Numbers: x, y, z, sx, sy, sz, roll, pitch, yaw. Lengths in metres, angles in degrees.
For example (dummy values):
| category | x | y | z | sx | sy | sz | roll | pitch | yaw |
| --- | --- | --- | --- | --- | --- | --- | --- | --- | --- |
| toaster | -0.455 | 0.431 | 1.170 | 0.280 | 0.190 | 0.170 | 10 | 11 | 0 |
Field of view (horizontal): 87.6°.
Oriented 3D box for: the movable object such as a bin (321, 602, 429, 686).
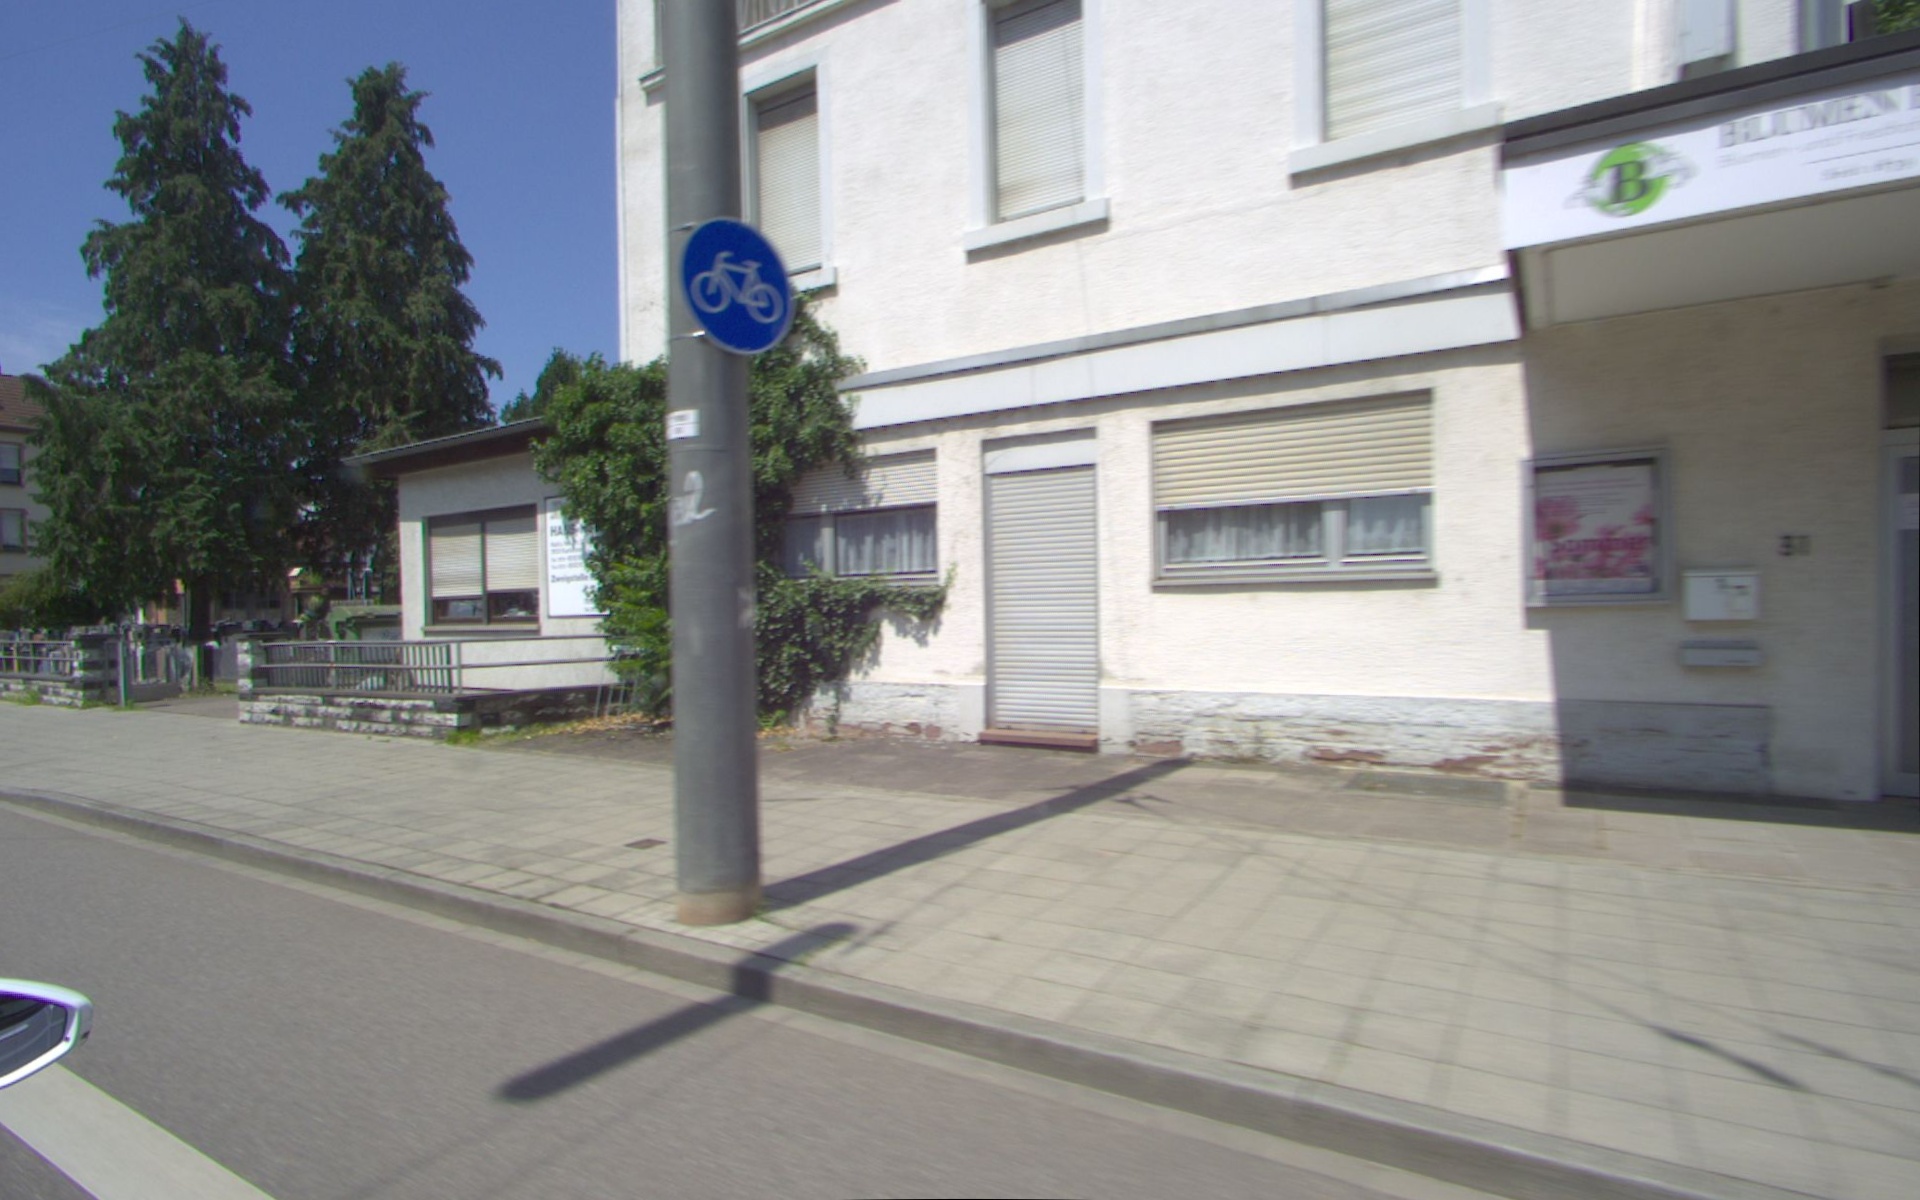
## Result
| category | x | y | z | sx | sy | sz | roll | pitch | yaw |
| --- | --- | --- | --- | --- | --- | --- | --- | --- | --- |
| movable object such as a bin | -10.949 | 0.800 | 18.761 | 1.135 | 1.501 | 1.384 | -1 | 0 | 33 |

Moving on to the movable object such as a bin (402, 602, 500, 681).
| category | x | y | z | sx | sy | sz | roll | pitch | yaw |
| --- | --- | --- | --- | --- | --- | --- | --- | --- | --- |
| movable object such as a bin | -10.149 | 0.812 | 19.985 | 1.136 | 1.501 | 1.383 | -1 | 0 | 36 |
